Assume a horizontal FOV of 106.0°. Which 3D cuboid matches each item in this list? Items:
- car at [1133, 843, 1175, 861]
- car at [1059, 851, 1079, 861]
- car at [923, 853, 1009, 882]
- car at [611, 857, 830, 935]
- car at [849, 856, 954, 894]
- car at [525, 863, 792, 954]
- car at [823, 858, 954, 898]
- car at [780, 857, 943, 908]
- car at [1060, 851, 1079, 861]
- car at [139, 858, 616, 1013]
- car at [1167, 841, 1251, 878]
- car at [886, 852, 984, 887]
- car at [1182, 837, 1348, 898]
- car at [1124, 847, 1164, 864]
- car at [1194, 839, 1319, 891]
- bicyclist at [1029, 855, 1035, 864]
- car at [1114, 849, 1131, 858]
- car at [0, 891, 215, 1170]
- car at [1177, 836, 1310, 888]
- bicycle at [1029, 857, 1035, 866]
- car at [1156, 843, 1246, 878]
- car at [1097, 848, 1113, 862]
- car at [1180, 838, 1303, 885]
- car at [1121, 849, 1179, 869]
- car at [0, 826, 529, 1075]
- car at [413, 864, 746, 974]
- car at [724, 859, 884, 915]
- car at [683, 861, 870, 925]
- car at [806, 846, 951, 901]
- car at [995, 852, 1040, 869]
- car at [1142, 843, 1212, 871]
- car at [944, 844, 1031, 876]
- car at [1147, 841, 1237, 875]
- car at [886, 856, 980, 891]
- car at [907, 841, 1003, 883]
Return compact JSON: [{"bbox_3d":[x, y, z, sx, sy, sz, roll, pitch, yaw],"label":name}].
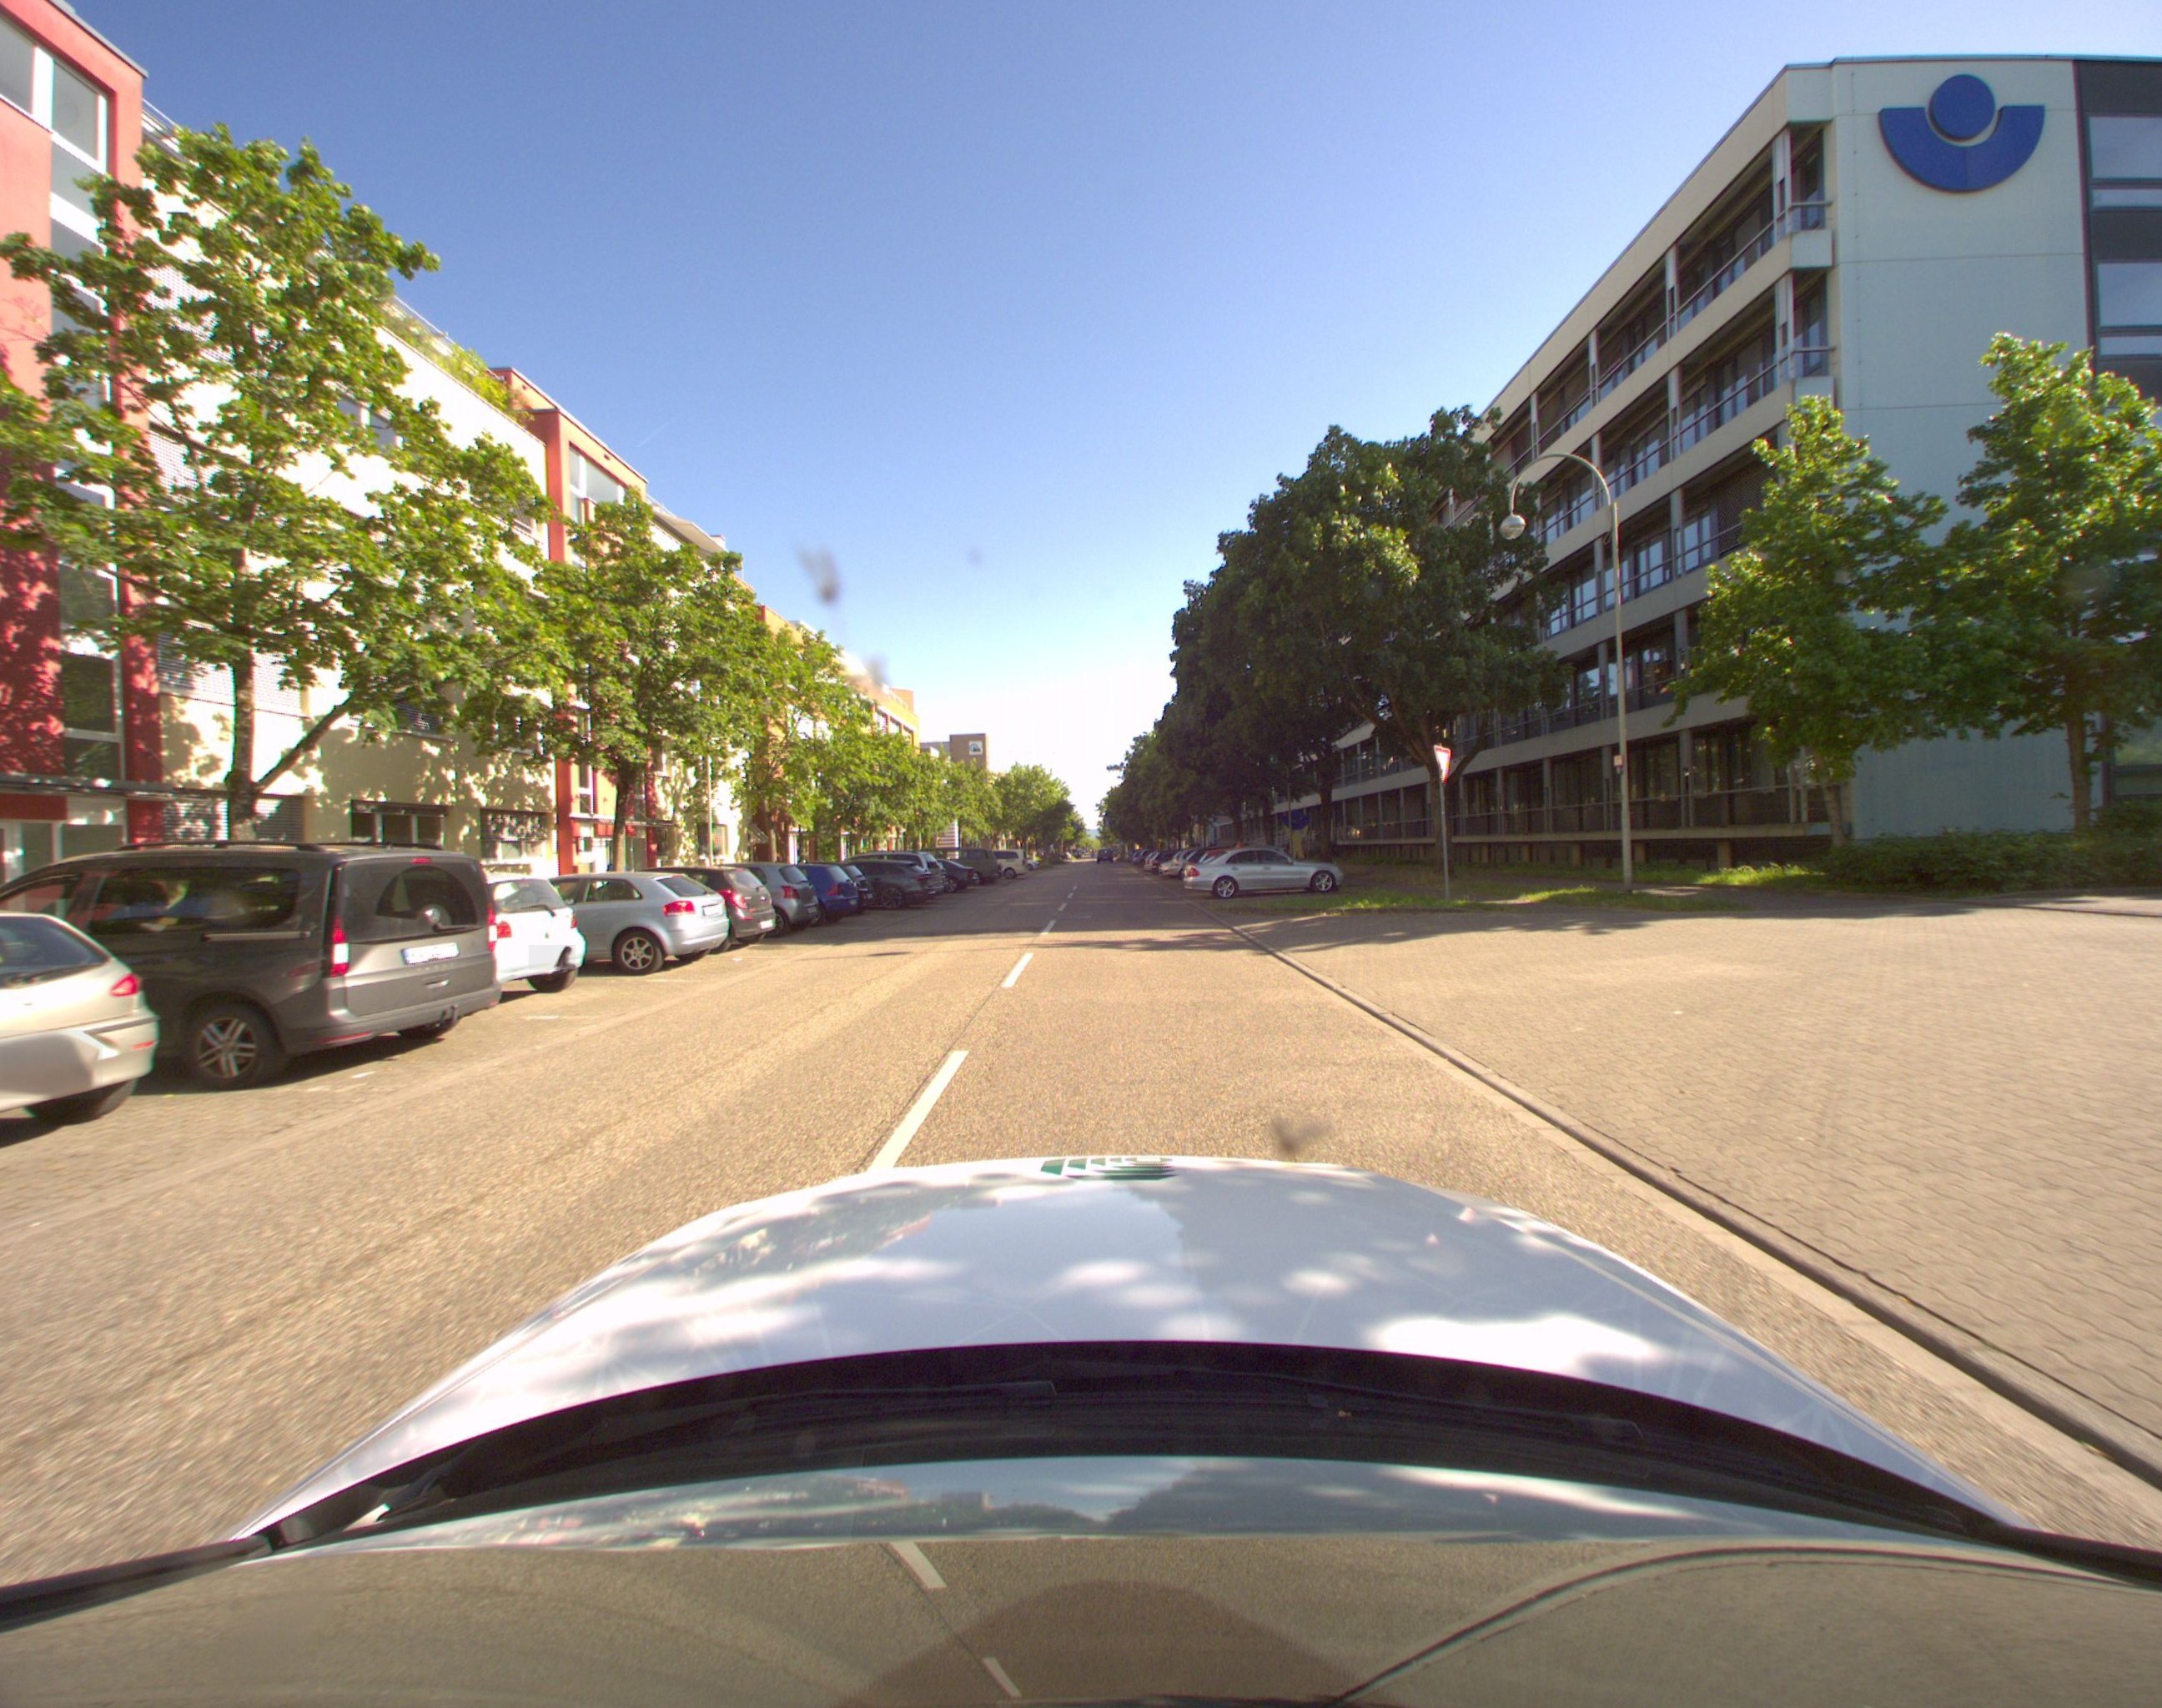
[{"bbox_3d":[7.129,-0.192,80.031,3.934,1.514,1.814,-4,0,2],"label":"car"},{"bbox_3d":[-2.650,0.384,176.489,3.968,2.013,2.003,-2,0,5],"label":"car"},{"bbox_3d":[-6.240,0.723,44.470,4.302,1.477,1.944,0,0,3],"label":"car"},{"bbox_3d":[-7.386,0.835,16.979,3.714,1.508,1.860,0,0,0],"label":"car"},{"bbox_3d":[-6.997,0.789,32.059,3.714,1.427,1.725,0,0,0],"label":"car"},{"bbox_3d":[-7.312,0.912,14.411,3.717,1.447,1.858,0,0,-3],"label":"car"},{"bbox_3d":[-6.881,0.834,29.428,4.306,1.358,1.757,0,0,0],"label":"car"},{"bbox_3d":[-6.517,0.831,24.508,4.389,1.427,1.772,0,0,-1],"label":"car"},{"bbox_3d":[-2.481,0.341,179.434,3.968,2.013,2.003,-2,0,5],"label":"car"},{"bbox_3d":[-7.842,0.853,9.379,3.877,1.574,1.860,0,0,1],"label":"car"},{"bbox_3d":[6.148,0.263,39.332,3.734,1.493,1.615,-4,0,-3],"label":"car"},{"bbox_3d":[-6.584,0.705,37.053,4.117,1.528,1.725,0,0,1],"label":"car"},{"bbox_3d":[5.424,0.395,24.419,4.561,1.475,1.748,-4,0,2],"label":"car"},{"bbox_3d":[7.273,0.172,94.287,4.339,1.704,1.811,-4,0,-2],"label":"car"},{"bbox_3d":[5.813,0.357,27.353,3.819,1.447,1.925,-4,0,5],"label":"car"},{"bbox_3d":[-6.098,0.631,100.957,0.530,1.091,0.795,-2,0,4],"label":"bicyclist"},{"bbox_3d":[10.017,-0.059,198.377,3.975,2.013,1.999,-2,0,-1],"label":"car"},{"bbox_3d":[-7.645,0.968,4.503,3.877,1.423,1.740,0,0,1],"label":"car"},{"bbox_3d":[5.838,0.277,29.727,4.493,1.542,1.924,-4,0,5],"label":"car"},{"bbox_3d":[-6.087,0.922,100.979,0.530,1.072,1.301,-2,0,4],"label":"bicycle"},{"bbox_3d":[6.109,0.309,41.883,4.272,1.493,2.003,-4,0,-1],"label":"car"},{"bbox_3d":[3.013,0.113,103.163,1.986,1.640,4.001,0,0,1],"label":"car"},{"bbox_3d":[6.301,0.286,32.322,4.497,1.542,1.923,-4,0,2],"label":"car"},{"bbox_3d":[6.013,0.410,71.497,4.810,1.420,2.031,-4,0,-1],"label":"car"},{"bbox_3d":[-7.199,0.711,6.855,3.877,1.811,1.786,0,0,1],"label":"car"},{"bbox_3d":[-7.205,0.887,12.047,3.717,1.447,1.874,0,0,-3],"label":"car"},{"bbox_3d":[-7.446,0.866,22.130,3.714,1.427,1.773,0,0,0],"label":"car"},{"bbox_3d":[-7.117,0.889,19.302,3.714,1.427,1.841,0,0,0],"label":"car"},{"bbox_3d":[-6.661,0.623,27.179,4.307,1.717,1.962,0,0,-1],"label":"car"},{"bbox_3d":[-5.753,0.567,74.135,3.974,1.486,1.806,-1,0,0],"label":"car"},{"bbox_3d":[5.835,0.194,49.732,3.958,1.420,1.710,-4,0,-1],"label":"car"},{"bbox_3d":[-5.915,0.382,51.765,5.239,1.967,1.943,0,0,1],"label":"car"},{"bbox_3d":[6.004,0.212,44.342,4.575,1.493,1.763,-4,0,1],"label":"car"},{"bbox_3d":[-6.173,0.800,34.285,3.720,1.427,1.722,0,0,-5],"label":"car"},{"bbox_3d":[-6.407,0.395,41.789,4.469,2.090,2.085,0,0,3],"label":"car"}]
